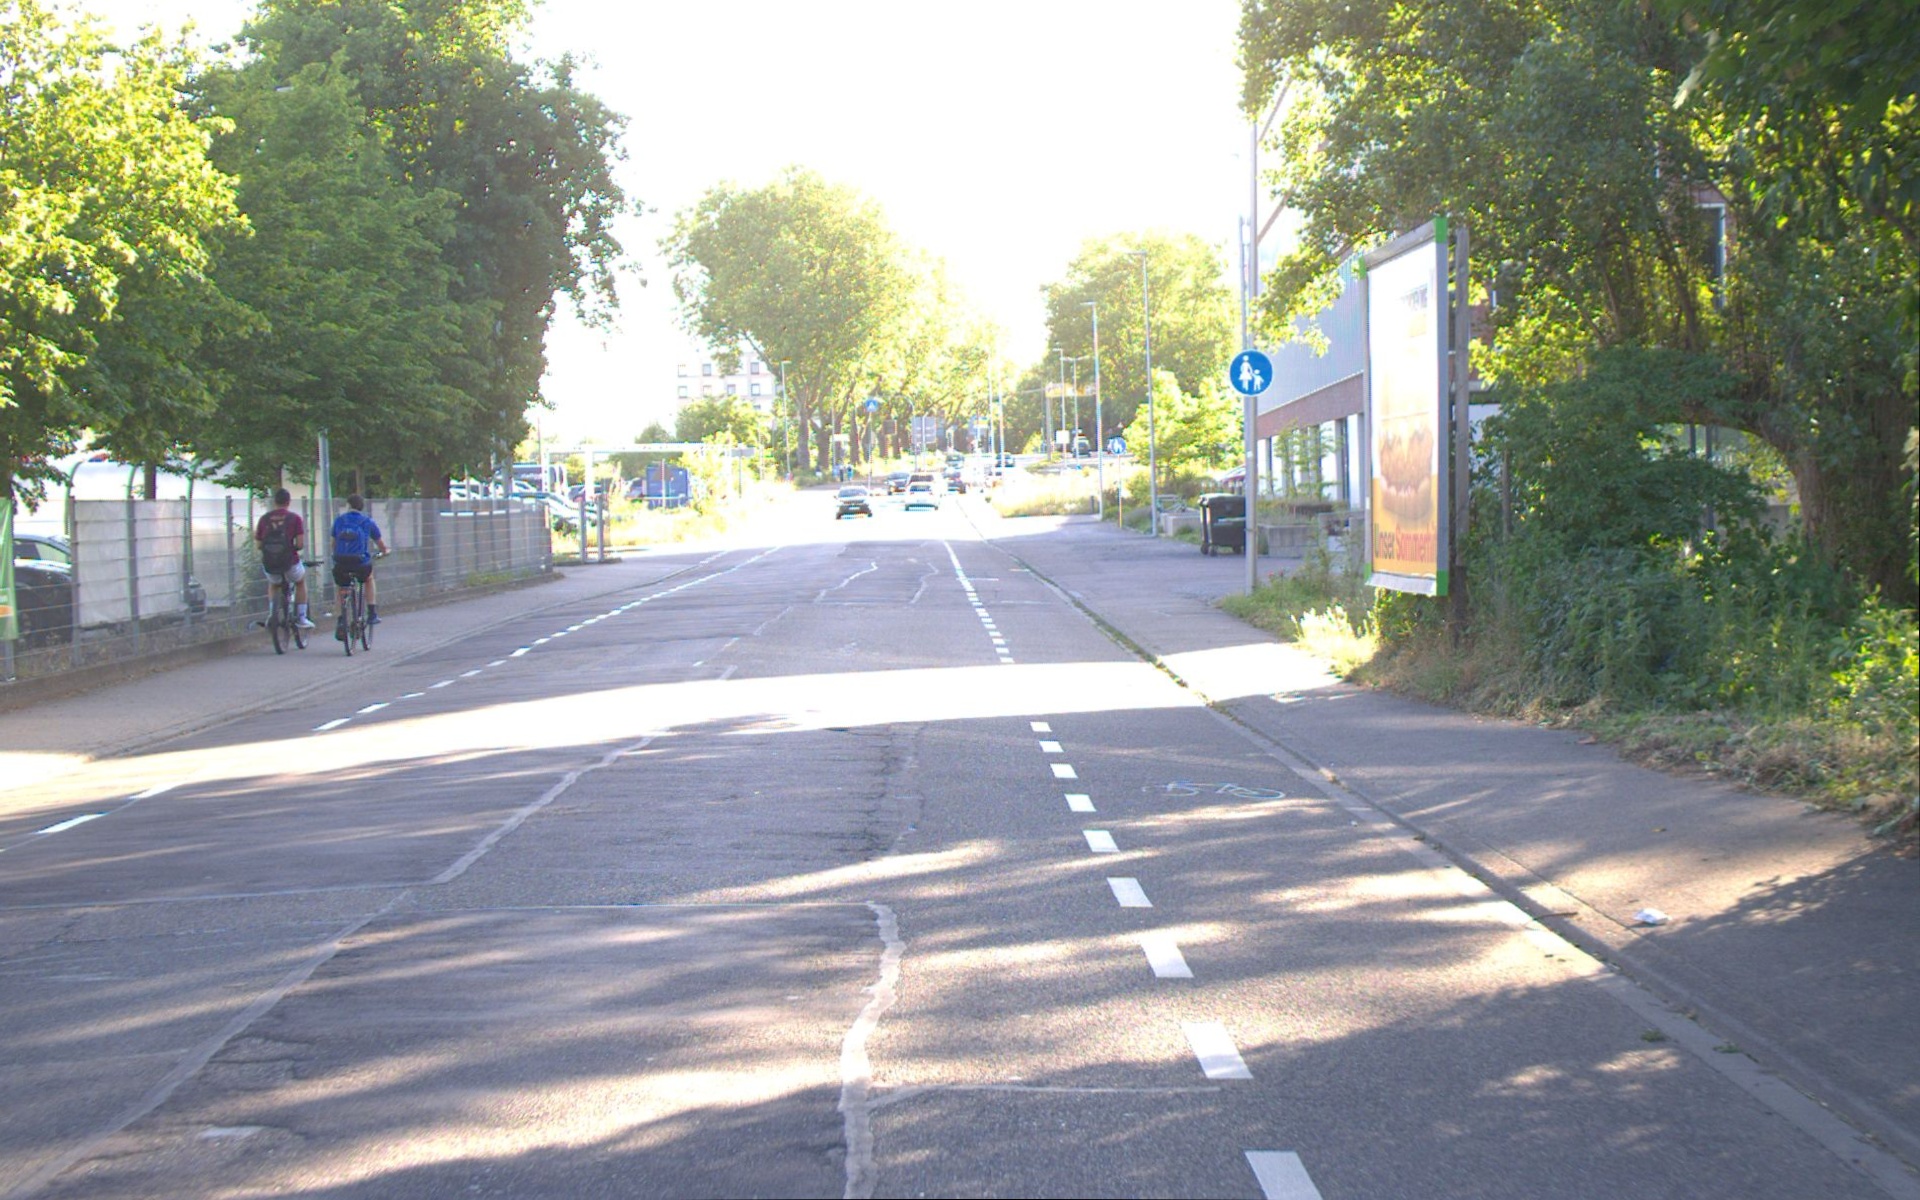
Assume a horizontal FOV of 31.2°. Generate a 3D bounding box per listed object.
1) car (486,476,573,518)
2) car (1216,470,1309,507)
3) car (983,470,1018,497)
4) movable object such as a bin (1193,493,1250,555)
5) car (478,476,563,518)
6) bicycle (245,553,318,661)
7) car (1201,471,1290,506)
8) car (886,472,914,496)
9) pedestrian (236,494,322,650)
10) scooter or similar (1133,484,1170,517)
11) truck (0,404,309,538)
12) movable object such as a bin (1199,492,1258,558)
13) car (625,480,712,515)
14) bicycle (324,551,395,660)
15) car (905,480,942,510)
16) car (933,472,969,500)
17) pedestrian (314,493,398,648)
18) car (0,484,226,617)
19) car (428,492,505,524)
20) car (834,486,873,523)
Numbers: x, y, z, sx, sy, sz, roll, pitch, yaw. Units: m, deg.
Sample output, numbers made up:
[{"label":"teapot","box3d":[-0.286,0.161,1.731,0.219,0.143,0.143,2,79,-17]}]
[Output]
[{"label":"car","box3d":[-26.875,-6.449,214.625,5.096,2.451,2.320,-2,2,-1]},{"label":"car","box3d":[13.927,-5.131,158.425,4.184,1.575,1.852,-1,2,3]},{"label":"car","box3d":[2.605,-7.509,221.707,2.163,1.678,4.001,-2,2,0]},{"label":"movable object such as a bin","box3d":[5.875,-1.712,77.247,1.128,1.331,1.346,-2,3,-1]},{"label":"car","box3d":[-27.094,-6.348,211.957,4.926,2.451,2.320,-2,2,-1]},{"label":"bicycle","box3d":[-7.718,0.064,39.167,0.470,1.144,1.870,0,3,-1]},{"label":"car","box3d":[13.738,-5.373,165.396,4.185,1.575,1.852,-1,2,3]},{"label":"car","box3d":[-3.872,-7.451,220.591,1.654,1.498,4.001,-2,2,0]},{"label":"pedestrian","box3d":[-7.754,-0.329,39.196,0.721,1.714,1.057,-2,2,0]},{"label":"scooter or similar","box3d":[7.221,-3.752,129.603,1.340,1.241,0.423,-1,2,4]},{"label":"truck","box3d":[-23.561,-3.606,96.291,10.097,3.602,2.776,-1,2,-1]},{"label":"movable object such as a bin","box3d":[5.897,-1.656,75.608,1.128,1.367,1.346,-2,3,-1]},{"label":"car","box3d":[-16.825,-5.932,198.709,4.845,1.828,2.000,-2,2,-1]},{"label":"bicycle","box3d":[-6.848,0.047,39.278,0.446,1.144,2.201,0,3,-1]},{"label":"car","box3d":[-1.895,-5.461,178.269,1.790,1.415,4.001,-1,3,1]},{"label":"car","box3d":[-0.539,-7.180,216.108,2.163,1.678,4.000,-2,2,1]},{"label":"pedestrian","box3d":[-6.882,-0.344,39.215,0.721,1.714,1.057,-2,2,0]},{"label":"car","box3d":[-11.802,-0.623,45.160,3.889,1.506,1.786,-4,3,-3]},{"label":"car","box3d":[-26.731,-5.007,186.196,3.882,1.598,1.878,-2,2,-1]},{"label":"car","box3d":[-5.070,-4.569,163.395,1.740,1.520,4.112,-5,3,-2]}]
